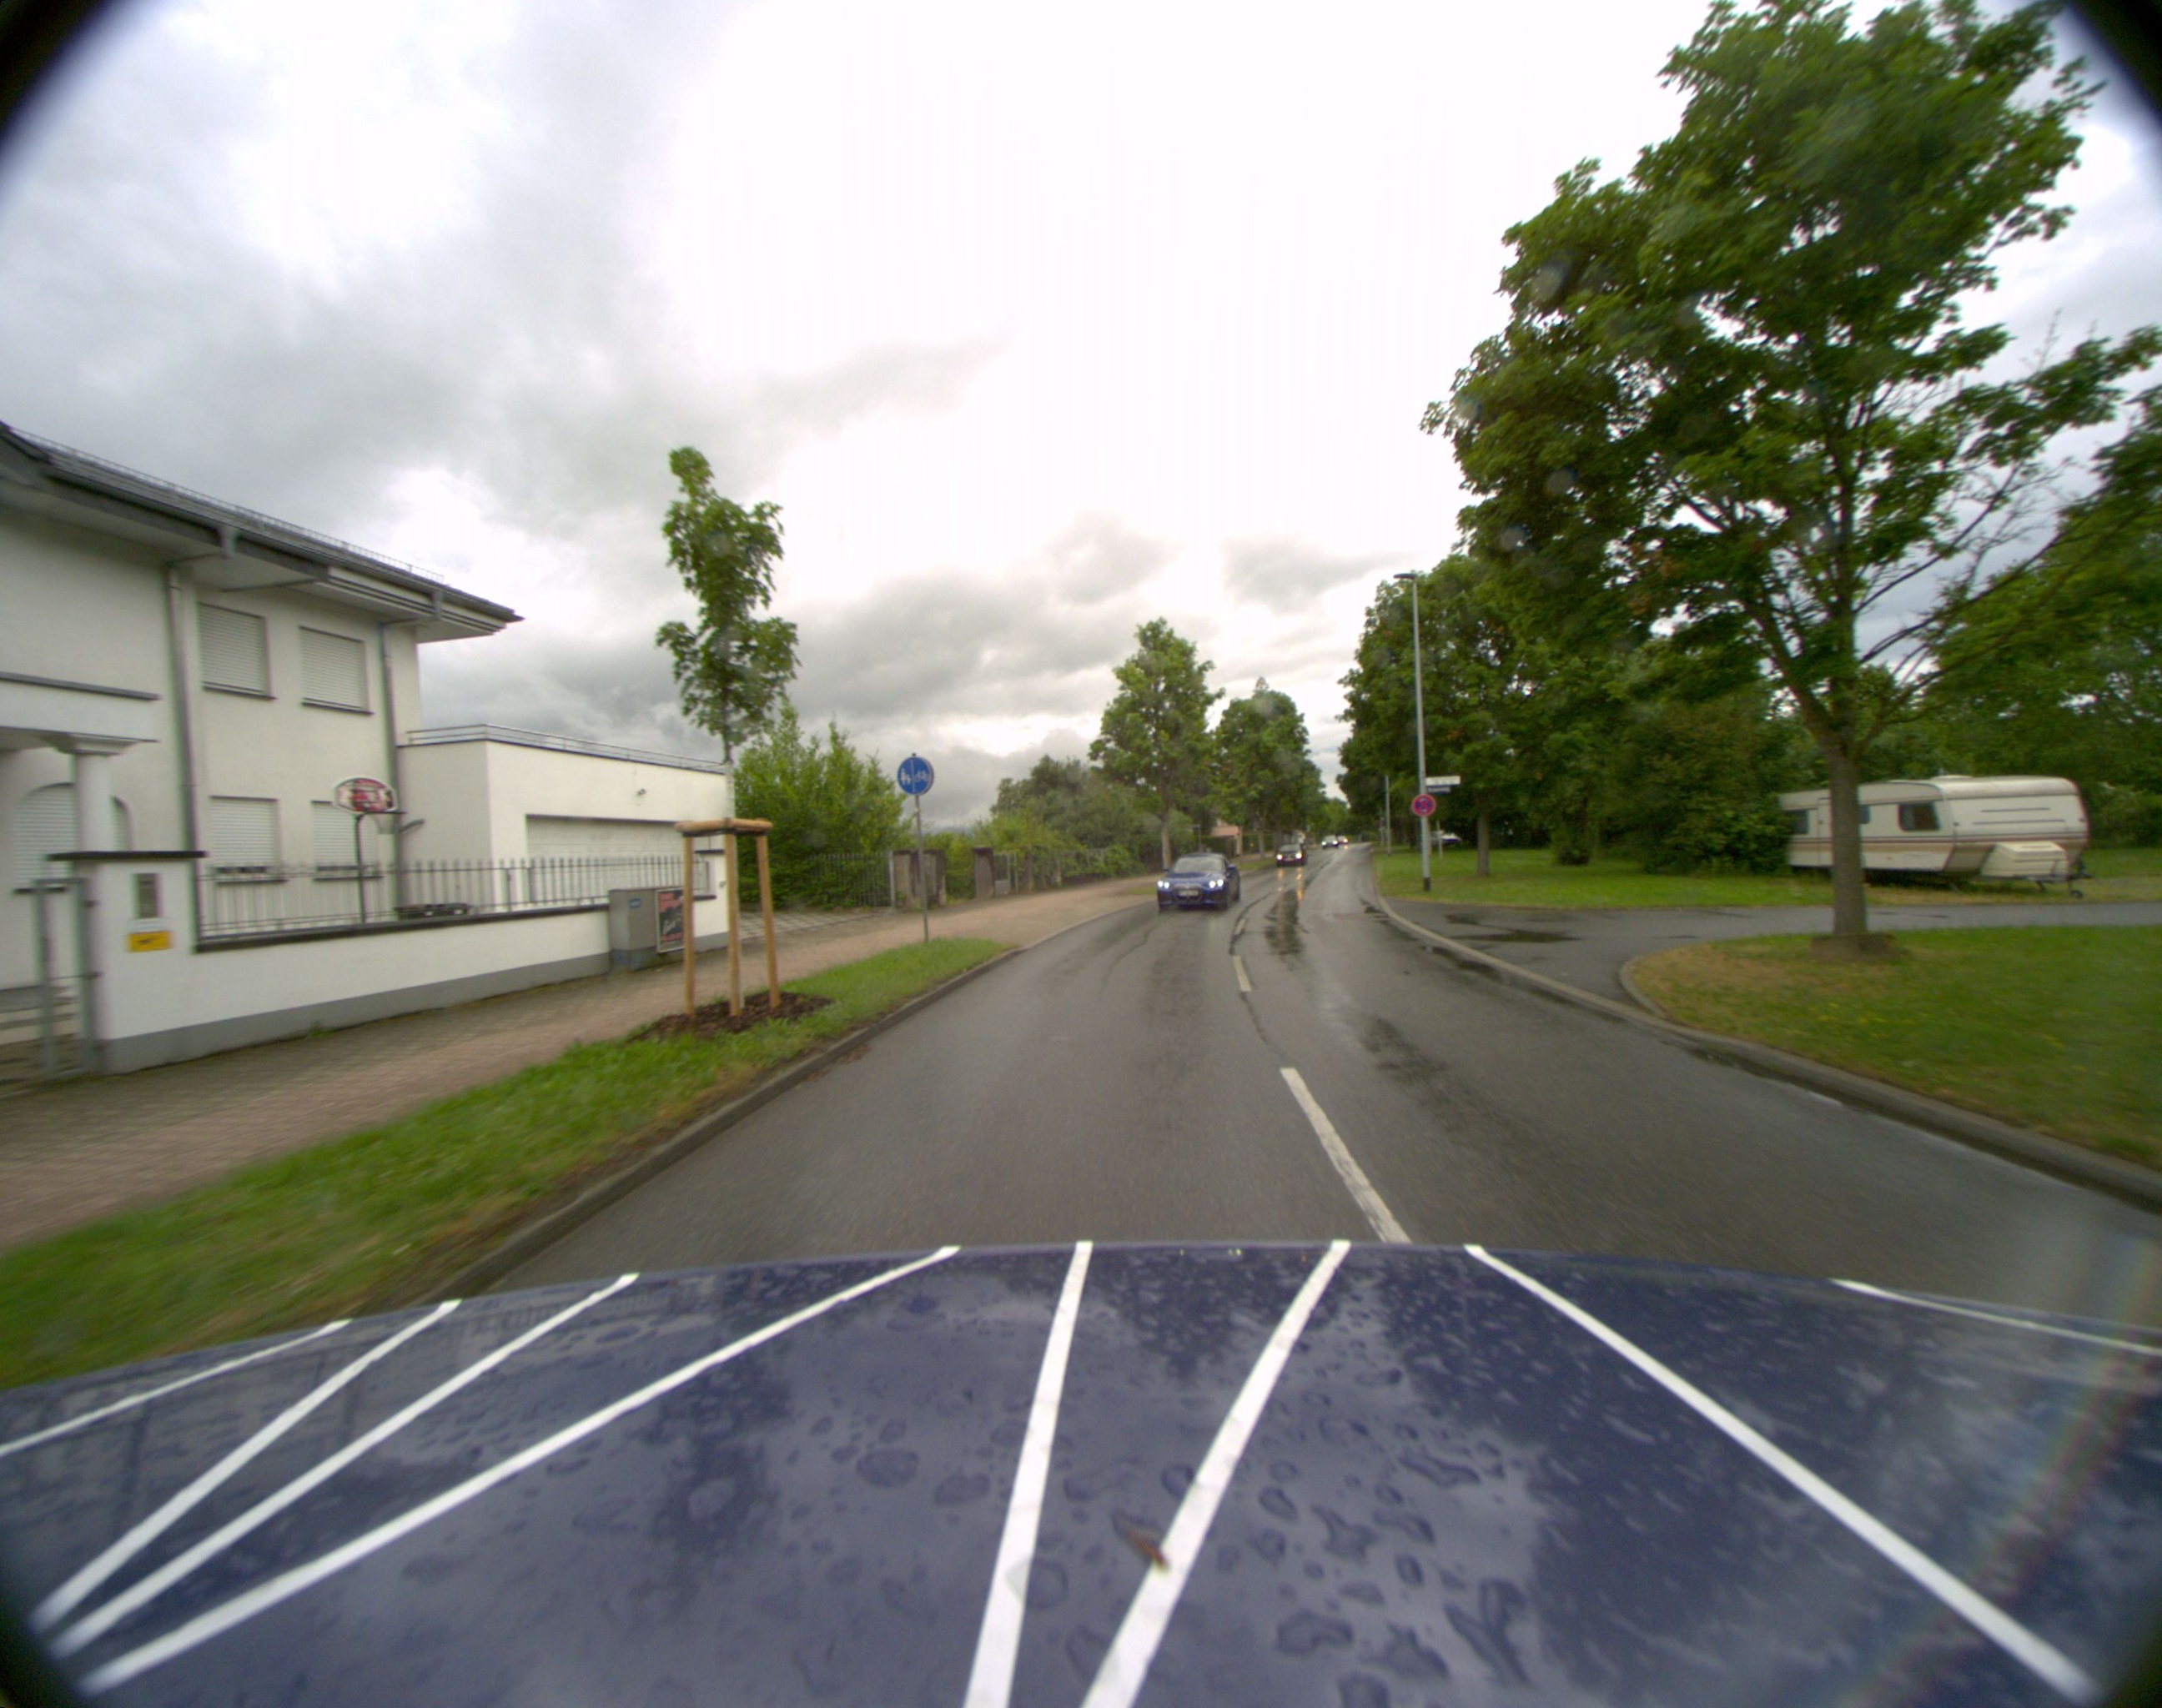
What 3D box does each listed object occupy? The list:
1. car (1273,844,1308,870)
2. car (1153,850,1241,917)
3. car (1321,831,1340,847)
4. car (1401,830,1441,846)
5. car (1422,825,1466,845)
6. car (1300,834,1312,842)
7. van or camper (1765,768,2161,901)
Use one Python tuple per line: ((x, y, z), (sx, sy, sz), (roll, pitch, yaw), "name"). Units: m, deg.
((13.575, 0.148, 49.082), (1.927, 1.374, 4.312), (-5, 0, 18), "car")
((3.357, 0.752, 21.349), (1.813, 1.460, 3.978), (-4, 1, 16), "car")
((31.756, -1.903, 96.654), (1.996, 1.848, 4.005), (-5, 0, 21), "car")
((33.965, -1.615, 75.987), (1.894, 1.505, 4.247), (-2, 1, -4), "car")
((31.206, -1.584, 65.430), (1.885, 1.421, 4.219), (-3, -2, 3), "car")
((42.994, -3.062, 145.155), (1.664, 1.413, 4.005), (-5, 0, 22), "car")
((19.156, -0.427, 17.245), (2.388, 2.347, 6.816), (-2, 1, 13), "van or camper")
